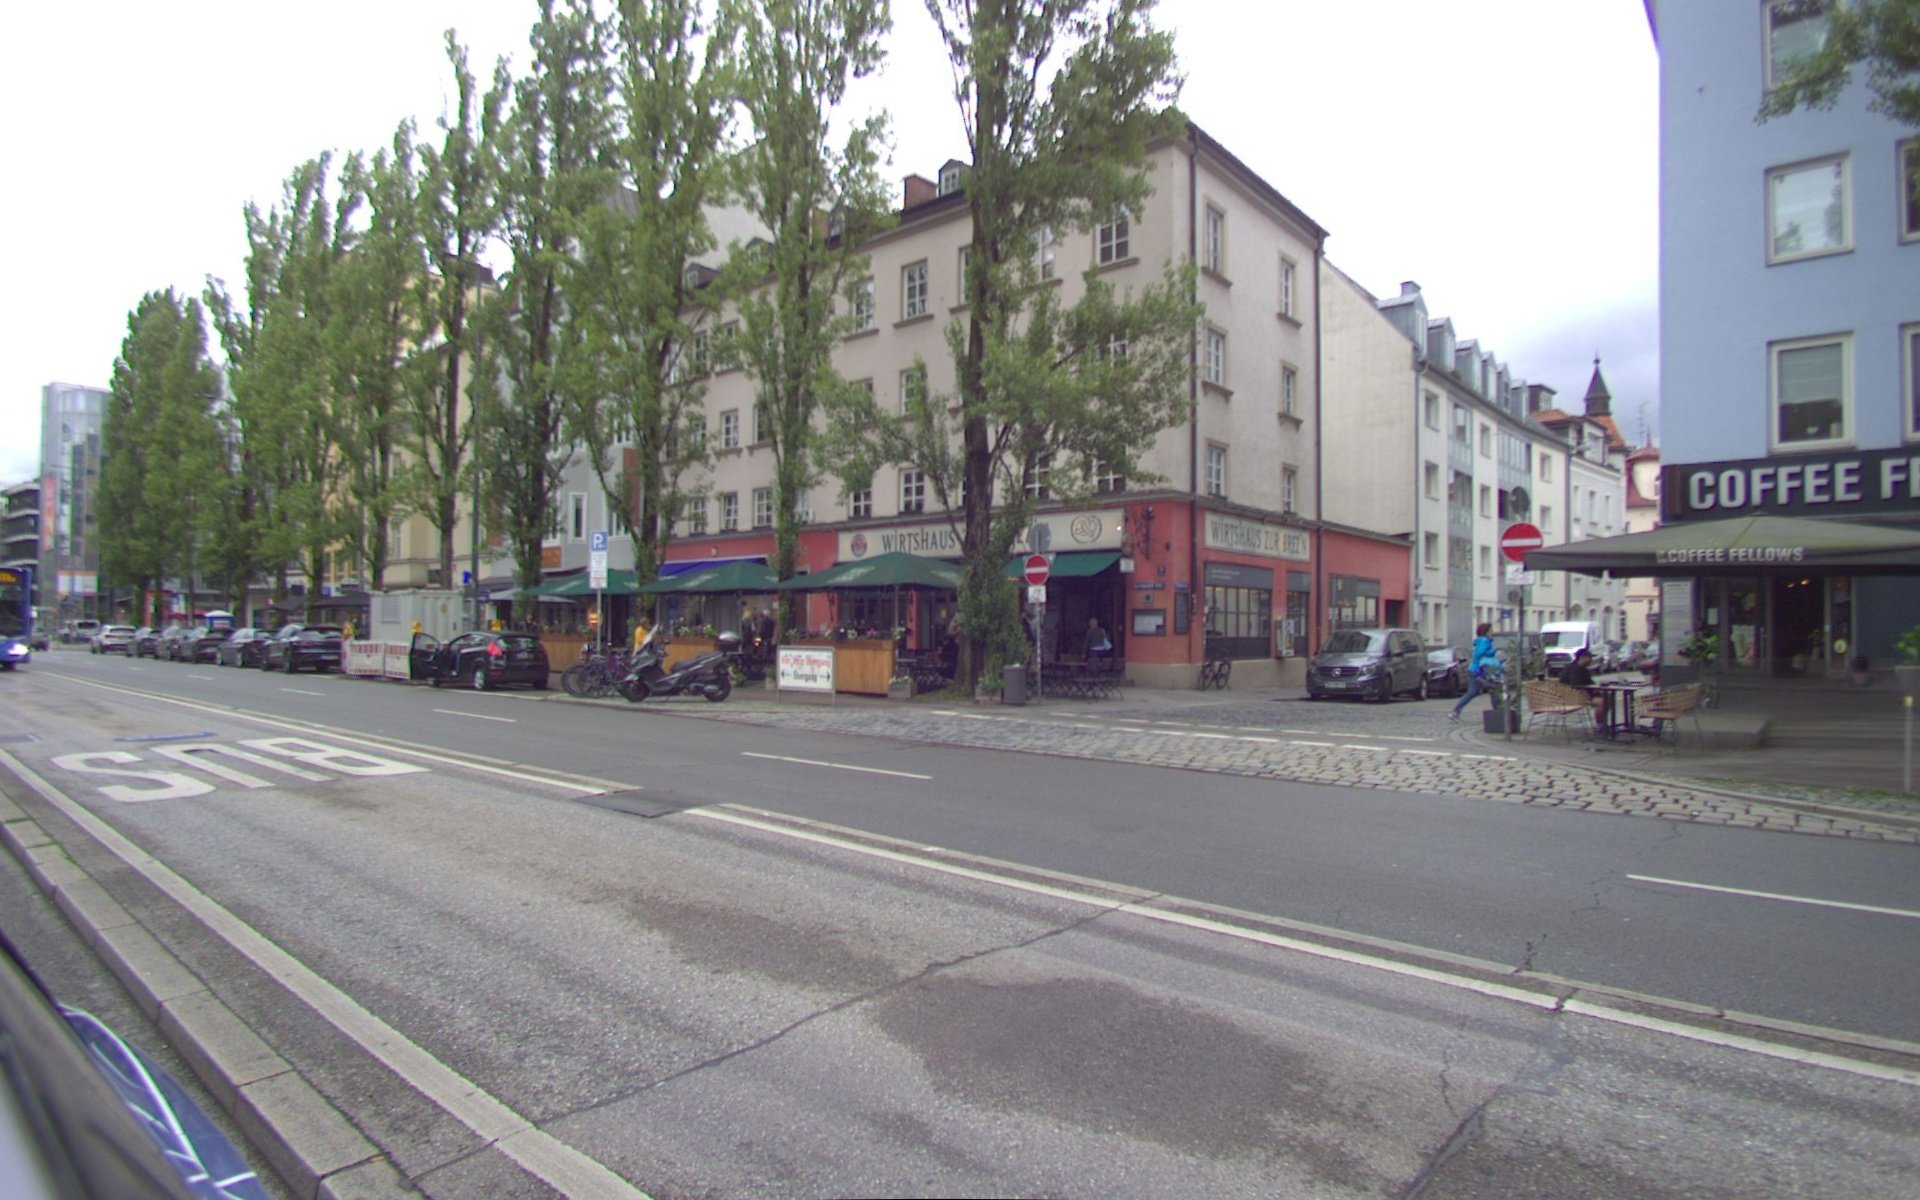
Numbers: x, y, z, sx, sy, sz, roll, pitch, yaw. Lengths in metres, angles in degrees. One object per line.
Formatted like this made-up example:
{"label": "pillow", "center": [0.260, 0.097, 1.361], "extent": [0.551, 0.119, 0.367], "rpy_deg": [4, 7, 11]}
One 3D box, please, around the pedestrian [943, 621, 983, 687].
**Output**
{"label": "pedestrian", "center": [0.082, 1.357, 25.676], "extent": [0.732, 1.636, 0.690], "rpy_deg": [-2, -3, 44]}

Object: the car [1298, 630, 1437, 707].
{"label": "car", "center": [10.477, 1.723, 25.865], "extent": [1.982, 1.780, 4.525], "rpy_deg": [-2, -4, 40]}

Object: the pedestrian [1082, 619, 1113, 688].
{"label": "pedestrian", "center": [3.375, 1.307, 24.907], "extent": [0.691, 1.659, 0.928], "rpy_deg": [0, -2, 4]}

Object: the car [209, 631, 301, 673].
{"label": "car", "center": [-26.454, 1.914, 37.897], "extent": [4.572, 1.451, 1.778], "rpy_deg": [-2, -3, 42]}

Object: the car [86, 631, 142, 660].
{"label": "car", "center": [-47.328, 2.522, 56.613], "extent": [4.103, 1.590, 1.778], "rpy_deg": [-2, -3, 42]}

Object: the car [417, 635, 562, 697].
{"label": "car", "center": [-11.819, 1.606, 25.345], "extent": [3.780, 1.433, 1.739], "rpy_deg": [-1, -3, 38]}

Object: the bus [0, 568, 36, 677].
{"label": "bus", "center": [-30.321, 0.686, 30.352], "extent": [10.047, 2.972, 2.661], "rpy_deg": [-1, -2, 41]}

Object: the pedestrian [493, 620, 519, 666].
{"label": "pedestrian", "center": [-19.190, 1.817, 42.769], "extent": [0.905, 1.941, 0.690], "rpy_deg": [-2, -3, 44]}

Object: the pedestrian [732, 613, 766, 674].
{"label": "pedestrian", "center": [-6.928, 1.421, 33.154], "extent": [0.905, 1.941, 0.690], "rpy_deg": [-2, -3, 44]}

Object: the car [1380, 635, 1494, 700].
{"label": "car", "center": [14.322, 1.997, 30.268], "extent": [1.982, 1.780, 4.525], "rpy_deg": [-2, -4, 40]}

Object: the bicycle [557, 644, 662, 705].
{"label": "bicycle", "center": [-7.021, 1.481, 20.309], "extent": [1.949, 1.134, 0.362], "rpy_deg": [-1, 0, -12]}

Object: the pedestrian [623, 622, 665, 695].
{"label": "pedestrian", "center": [-7.686, 1.420, 24.659], "extent": [0.724, 1.739, 0.697], "rpy_deg": [0, -2, 11]}

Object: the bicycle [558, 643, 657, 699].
{"label": "bicycle", "center": [-7.502, 1.507, 21.598], "extent": [1.949, 1.134, 0.343], "rpy_deg": [-1, 0, -12]}

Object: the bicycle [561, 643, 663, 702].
{"label": "bicycle", "center": [-7.175, 1.490, 20.915], "extent": [1.949, 1.134, 0.283], "rpy_deg": [-1, 0, -12]}

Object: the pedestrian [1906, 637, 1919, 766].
{"label": "pedestrian", "center": [10.773, 1.085, 10.846], "extent": [0.847, 1.373, 0.690], "rpy_deg": [-2, -3, 40]}

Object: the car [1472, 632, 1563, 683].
{"label": "car", "center": [20.887, 2.158, 37.852], "extent": [2.116, 1.780, 4.525], "rpy_deg": [-1, -4, 40]}

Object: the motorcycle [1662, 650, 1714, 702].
{"label": "motorcycle", "center": [18.441, 1.896, 25.610], "extent": [0.738, 1.213, 2.729], "rpy_deg": [-4, -5, 42]}

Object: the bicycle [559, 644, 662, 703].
{"label": "bicycle", "center": [-7.115, 1.489, 20.637], "extent": [1.949, 1.134, 0.283], "rpy_deg": [-1, 0, -12]}

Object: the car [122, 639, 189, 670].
{"label": "car", "center": [-39.469, 2.650, 49.622], "extent": [4.572, 1.451, 1.778], "rpy_deg": [-2, -3, 42]}

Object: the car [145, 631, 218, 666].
{"label": "car", "center": [-35.321, 2.174, 45.868], "extent": [4.572, 1.515, 1.778], "rpy_deg": [-2, -3, 42]}

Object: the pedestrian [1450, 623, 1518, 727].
{"label": "pedestrian", "center": [8.648, 1.217, 16.731], "extent": [0.945, 1.659, 0.694], "rpy_deg": [-1, -2, 25]}

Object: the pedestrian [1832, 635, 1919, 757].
{"label": "pedestrian", "center": [10.722, 1.095, 11.870], "extent": [0.699, 1.373, 0.706], "rpy_deg": [-2, -3, 39]}

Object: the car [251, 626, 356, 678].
{"label": "car", "center": [-22.037, 1.710, 33.915], "extent": [4.572, 1.625, 1.778], "rpy_deg": [-2, -3, 42]}

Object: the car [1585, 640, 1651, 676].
{"label": "car", "center": [34.299, 3.019, 52.677], "extent": [1.984, 1.780, 4.519], "rpy_deg": [-2, -4, 45]}

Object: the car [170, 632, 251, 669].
{"label": "car", "center": [-31.352, 2.079, 42.286], "extent": [4.572, 1.451, 1.778], "rpy_deg": [-2, -3, 42]}

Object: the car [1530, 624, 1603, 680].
{"label": "car", "center": [27.060, 2.320, 45.078], "extent": [1.983, 2.384, 4.523], "rpy_deg": [-2, -4, 42]}

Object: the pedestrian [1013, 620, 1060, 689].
{"label": "pedestrian", "center": [1.878, 1.321, 24.776], "extent": [0.689, 1.659, 0.930], "rpy_deg": [2, -3, -44]}

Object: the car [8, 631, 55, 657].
{"label": "car", "center": [-57.904, 2.708, 63.070], "extent": [4.075, 1.553, 1.695], "rpy_deg": [-2, -4, 42]}

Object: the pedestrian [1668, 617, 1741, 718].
{"label": "pedestrian", "center": [13.615, 1.214, 18.538], "extent": [0.692, 1.786, 0.947], "rpy_deg": [0, -2, 10]}

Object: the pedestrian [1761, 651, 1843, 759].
{"label": "pedestrian", "center": [9.908, 1.207, 11.931], "extent": [0.699, 1.192, 0.807], "rpy_deg": [-2, -3, 39]}

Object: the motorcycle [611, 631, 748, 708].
{"label": "motorcycle", "center": [-5.360, 1.309, 19.377], "extent": [2.426, 1.425, 0.744], "rpy_deg": [0, -2, 8]}

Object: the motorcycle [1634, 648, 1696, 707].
{"label": "motorcycle", "center": [15.500, 1.670, 22.230], "extent": [0.738, 1.213, 2.729], "rpy_deg": [-4, -5, 42]}

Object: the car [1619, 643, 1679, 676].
{"label": "car", "center": [38.802, 3.349, 56.942], "extent": [1.984, 1.780, 4.519], "rpy_deg": [-2, -4, 45]}

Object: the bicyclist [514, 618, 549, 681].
{"label": "bicyclist", "center": [-11.812, 1.353, 27.897], "extent": [0.816, 1.718, 0.598], "rpy_deg": [-1, -2, 42]}

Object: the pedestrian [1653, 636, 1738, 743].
{"label": "pedestrian", "center": [9.930, 1.180, 13.668], "extent": [0.819, 1.373, 0.690], "rpy_deg": [-2, -3, 44]}

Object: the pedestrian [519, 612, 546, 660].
{"label": "pedestrian", "center": [-17.274, 1.448, 40.901], "extent": [0.905, 1.941, 0.690], "rpy_deg": [-2, -3, 44]}

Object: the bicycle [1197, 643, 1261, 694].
{"label": "bicycle", "center": [6.766, 1.690, 25.369], "extent": [0.645, 1.214, 2.317], "rpy_deg": [-2, -3, 39]}

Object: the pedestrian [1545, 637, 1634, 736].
{"label": "pedestrian", "center": [9.085, 1.221, 14.621], "extent": [0.950, 1.373, 0.690], "rpy_deg": [-2, -3, 44]}

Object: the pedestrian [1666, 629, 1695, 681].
{"label": "pedestrian", "center": [23.360, 1.782, 32.800], "extent": [0.699, 1.659, 0.856], "rpy_deg": [-1, -3, 37]}
